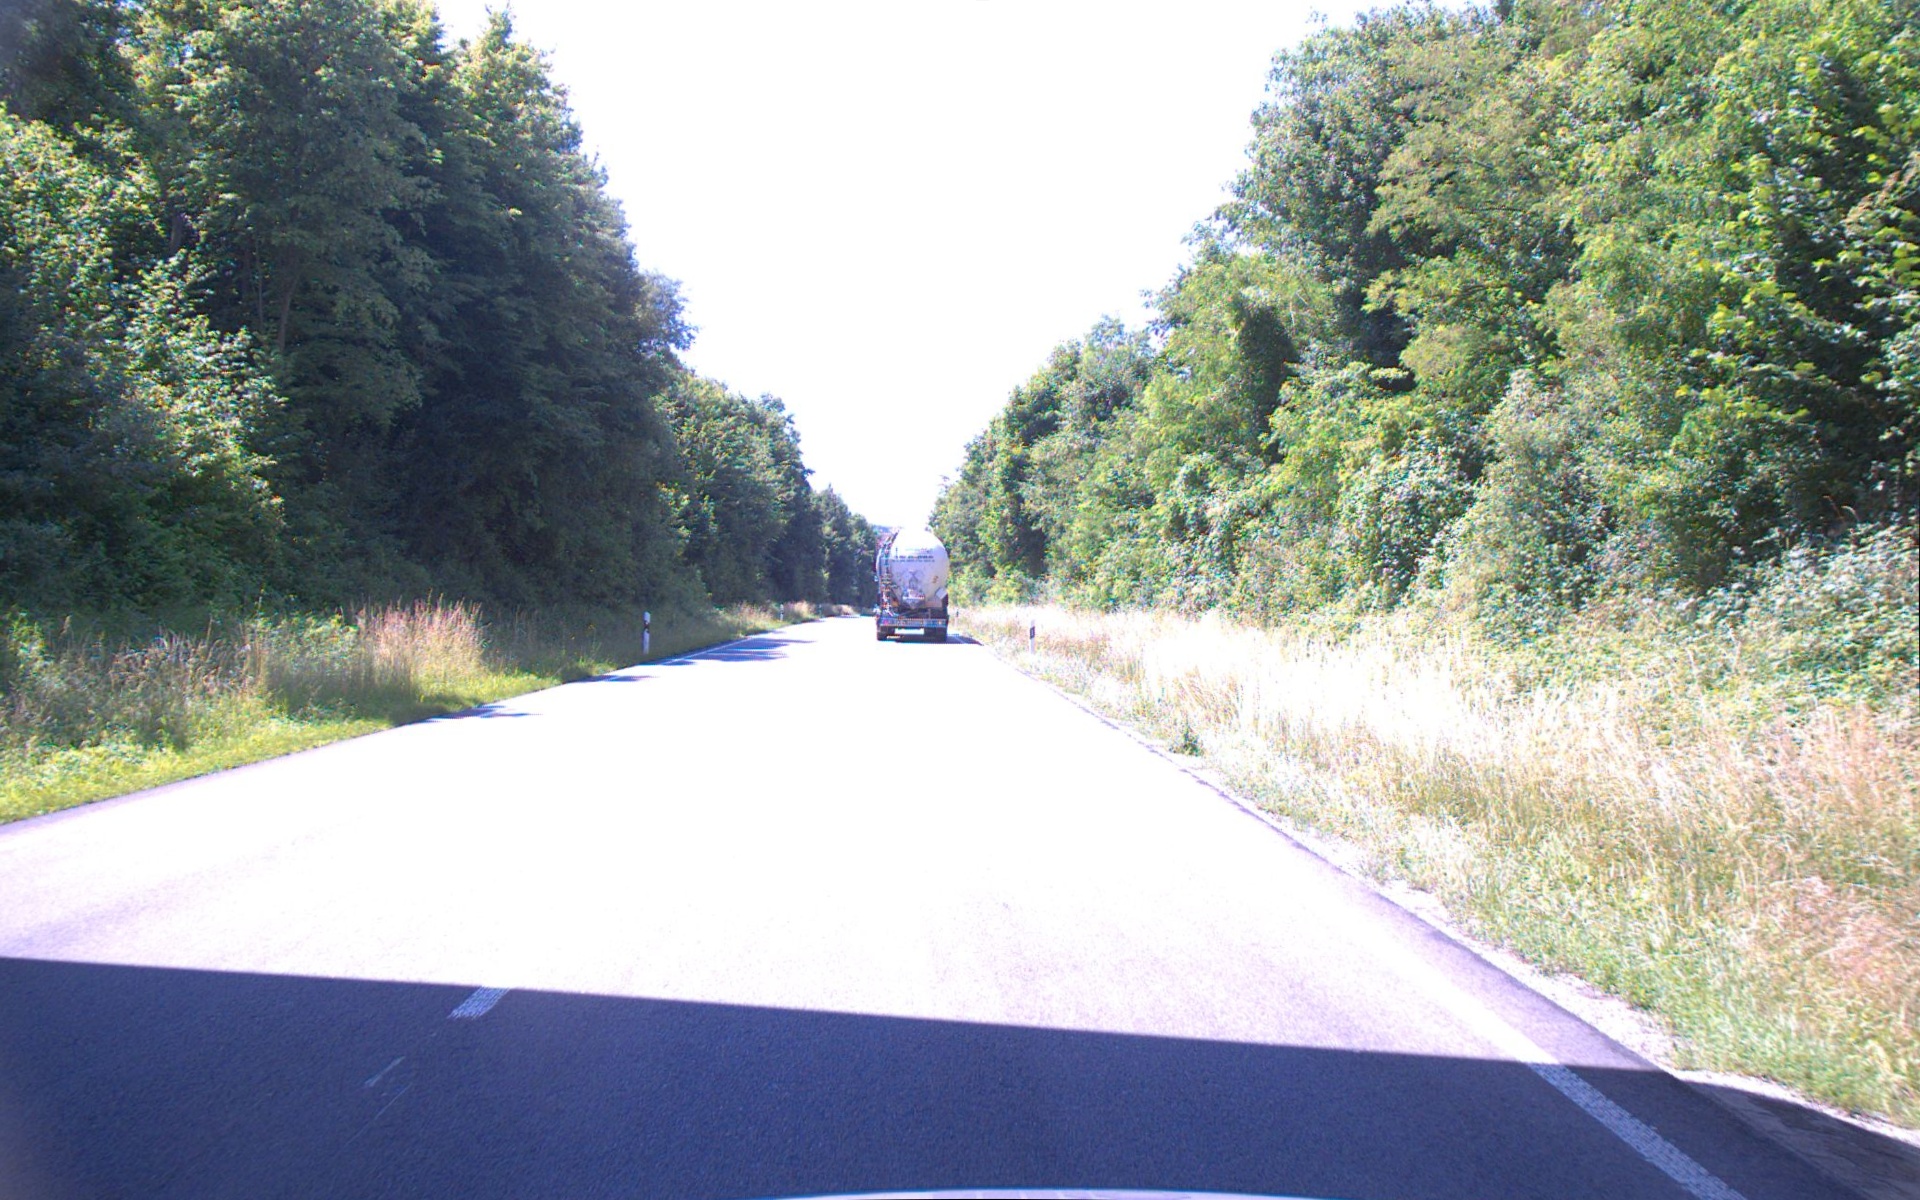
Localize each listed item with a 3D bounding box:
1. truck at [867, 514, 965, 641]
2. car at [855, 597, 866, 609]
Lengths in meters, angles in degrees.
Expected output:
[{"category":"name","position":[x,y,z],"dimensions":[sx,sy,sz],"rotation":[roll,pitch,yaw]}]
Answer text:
[{"category":"truck","position":[-1.905,-0.664,62.899],"dimensions":[2.989,4.068,15.624],"rotation":[3,-1,-3]},{"category":"car","position":[-14.421,0.463,239.708],"dimensions":[1.482,1.620,3.791],"rotation":[1,0,-2]}]
